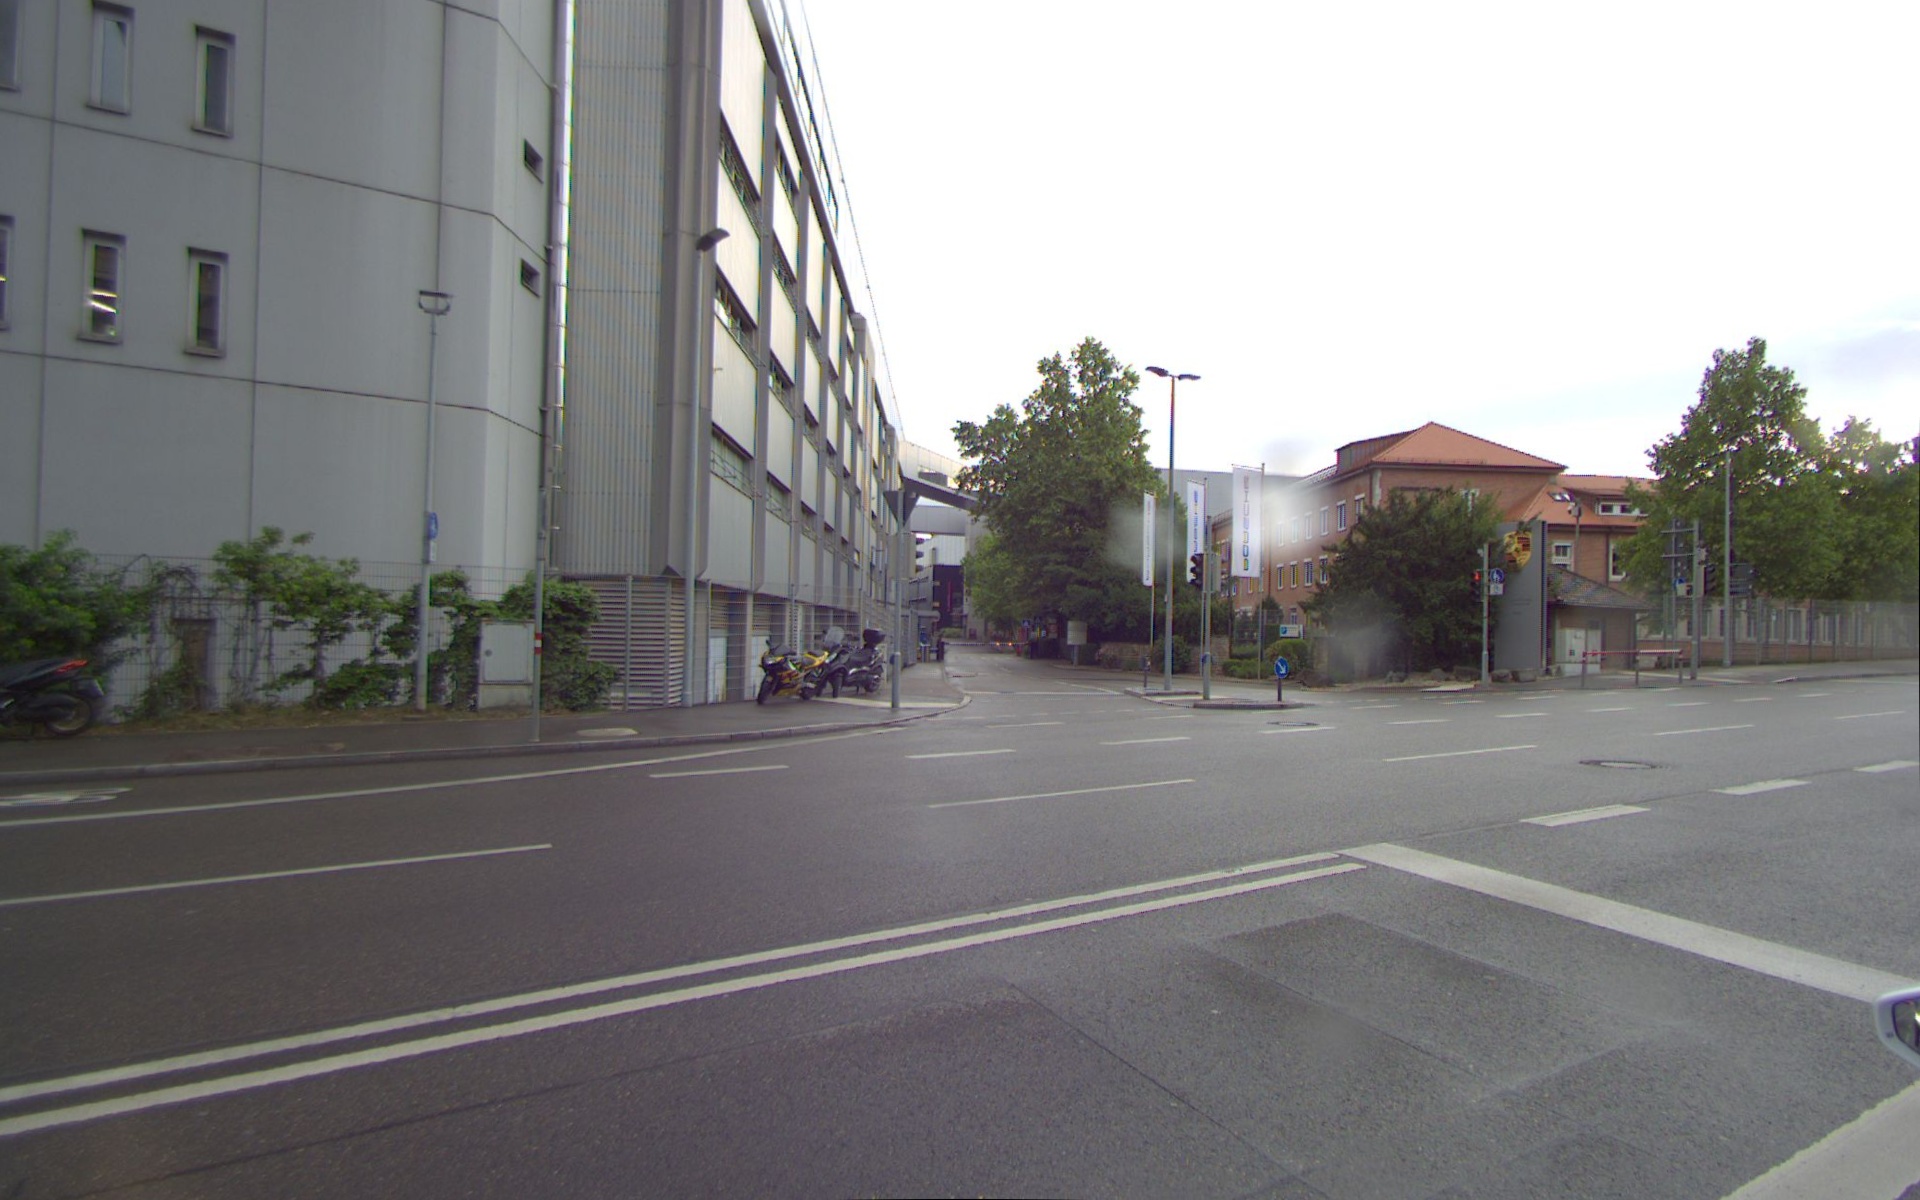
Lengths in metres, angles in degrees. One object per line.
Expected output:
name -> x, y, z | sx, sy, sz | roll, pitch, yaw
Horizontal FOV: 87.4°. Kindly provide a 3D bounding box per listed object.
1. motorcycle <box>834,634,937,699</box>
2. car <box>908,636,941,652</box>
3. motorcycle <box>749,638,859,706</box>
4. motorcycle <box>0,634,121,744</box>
motorcycle -> -1.618, 1.447, 22.527 | 1.008, 1.355, 2.772 | -1, -2, 27
car -> -4.623, 5.745, 131.363 | 3.913, 1.849, 1.955 | 2, 0, -31
motorcycle -> -3.071, 1.399, 20.090 | 0.759, 1.234, 2.504 | 0, -2, 30
motorcycle -> -11.388, 1.040, 11.870 | 2.133, 1.263, 0.780 | 2, -2, -32
